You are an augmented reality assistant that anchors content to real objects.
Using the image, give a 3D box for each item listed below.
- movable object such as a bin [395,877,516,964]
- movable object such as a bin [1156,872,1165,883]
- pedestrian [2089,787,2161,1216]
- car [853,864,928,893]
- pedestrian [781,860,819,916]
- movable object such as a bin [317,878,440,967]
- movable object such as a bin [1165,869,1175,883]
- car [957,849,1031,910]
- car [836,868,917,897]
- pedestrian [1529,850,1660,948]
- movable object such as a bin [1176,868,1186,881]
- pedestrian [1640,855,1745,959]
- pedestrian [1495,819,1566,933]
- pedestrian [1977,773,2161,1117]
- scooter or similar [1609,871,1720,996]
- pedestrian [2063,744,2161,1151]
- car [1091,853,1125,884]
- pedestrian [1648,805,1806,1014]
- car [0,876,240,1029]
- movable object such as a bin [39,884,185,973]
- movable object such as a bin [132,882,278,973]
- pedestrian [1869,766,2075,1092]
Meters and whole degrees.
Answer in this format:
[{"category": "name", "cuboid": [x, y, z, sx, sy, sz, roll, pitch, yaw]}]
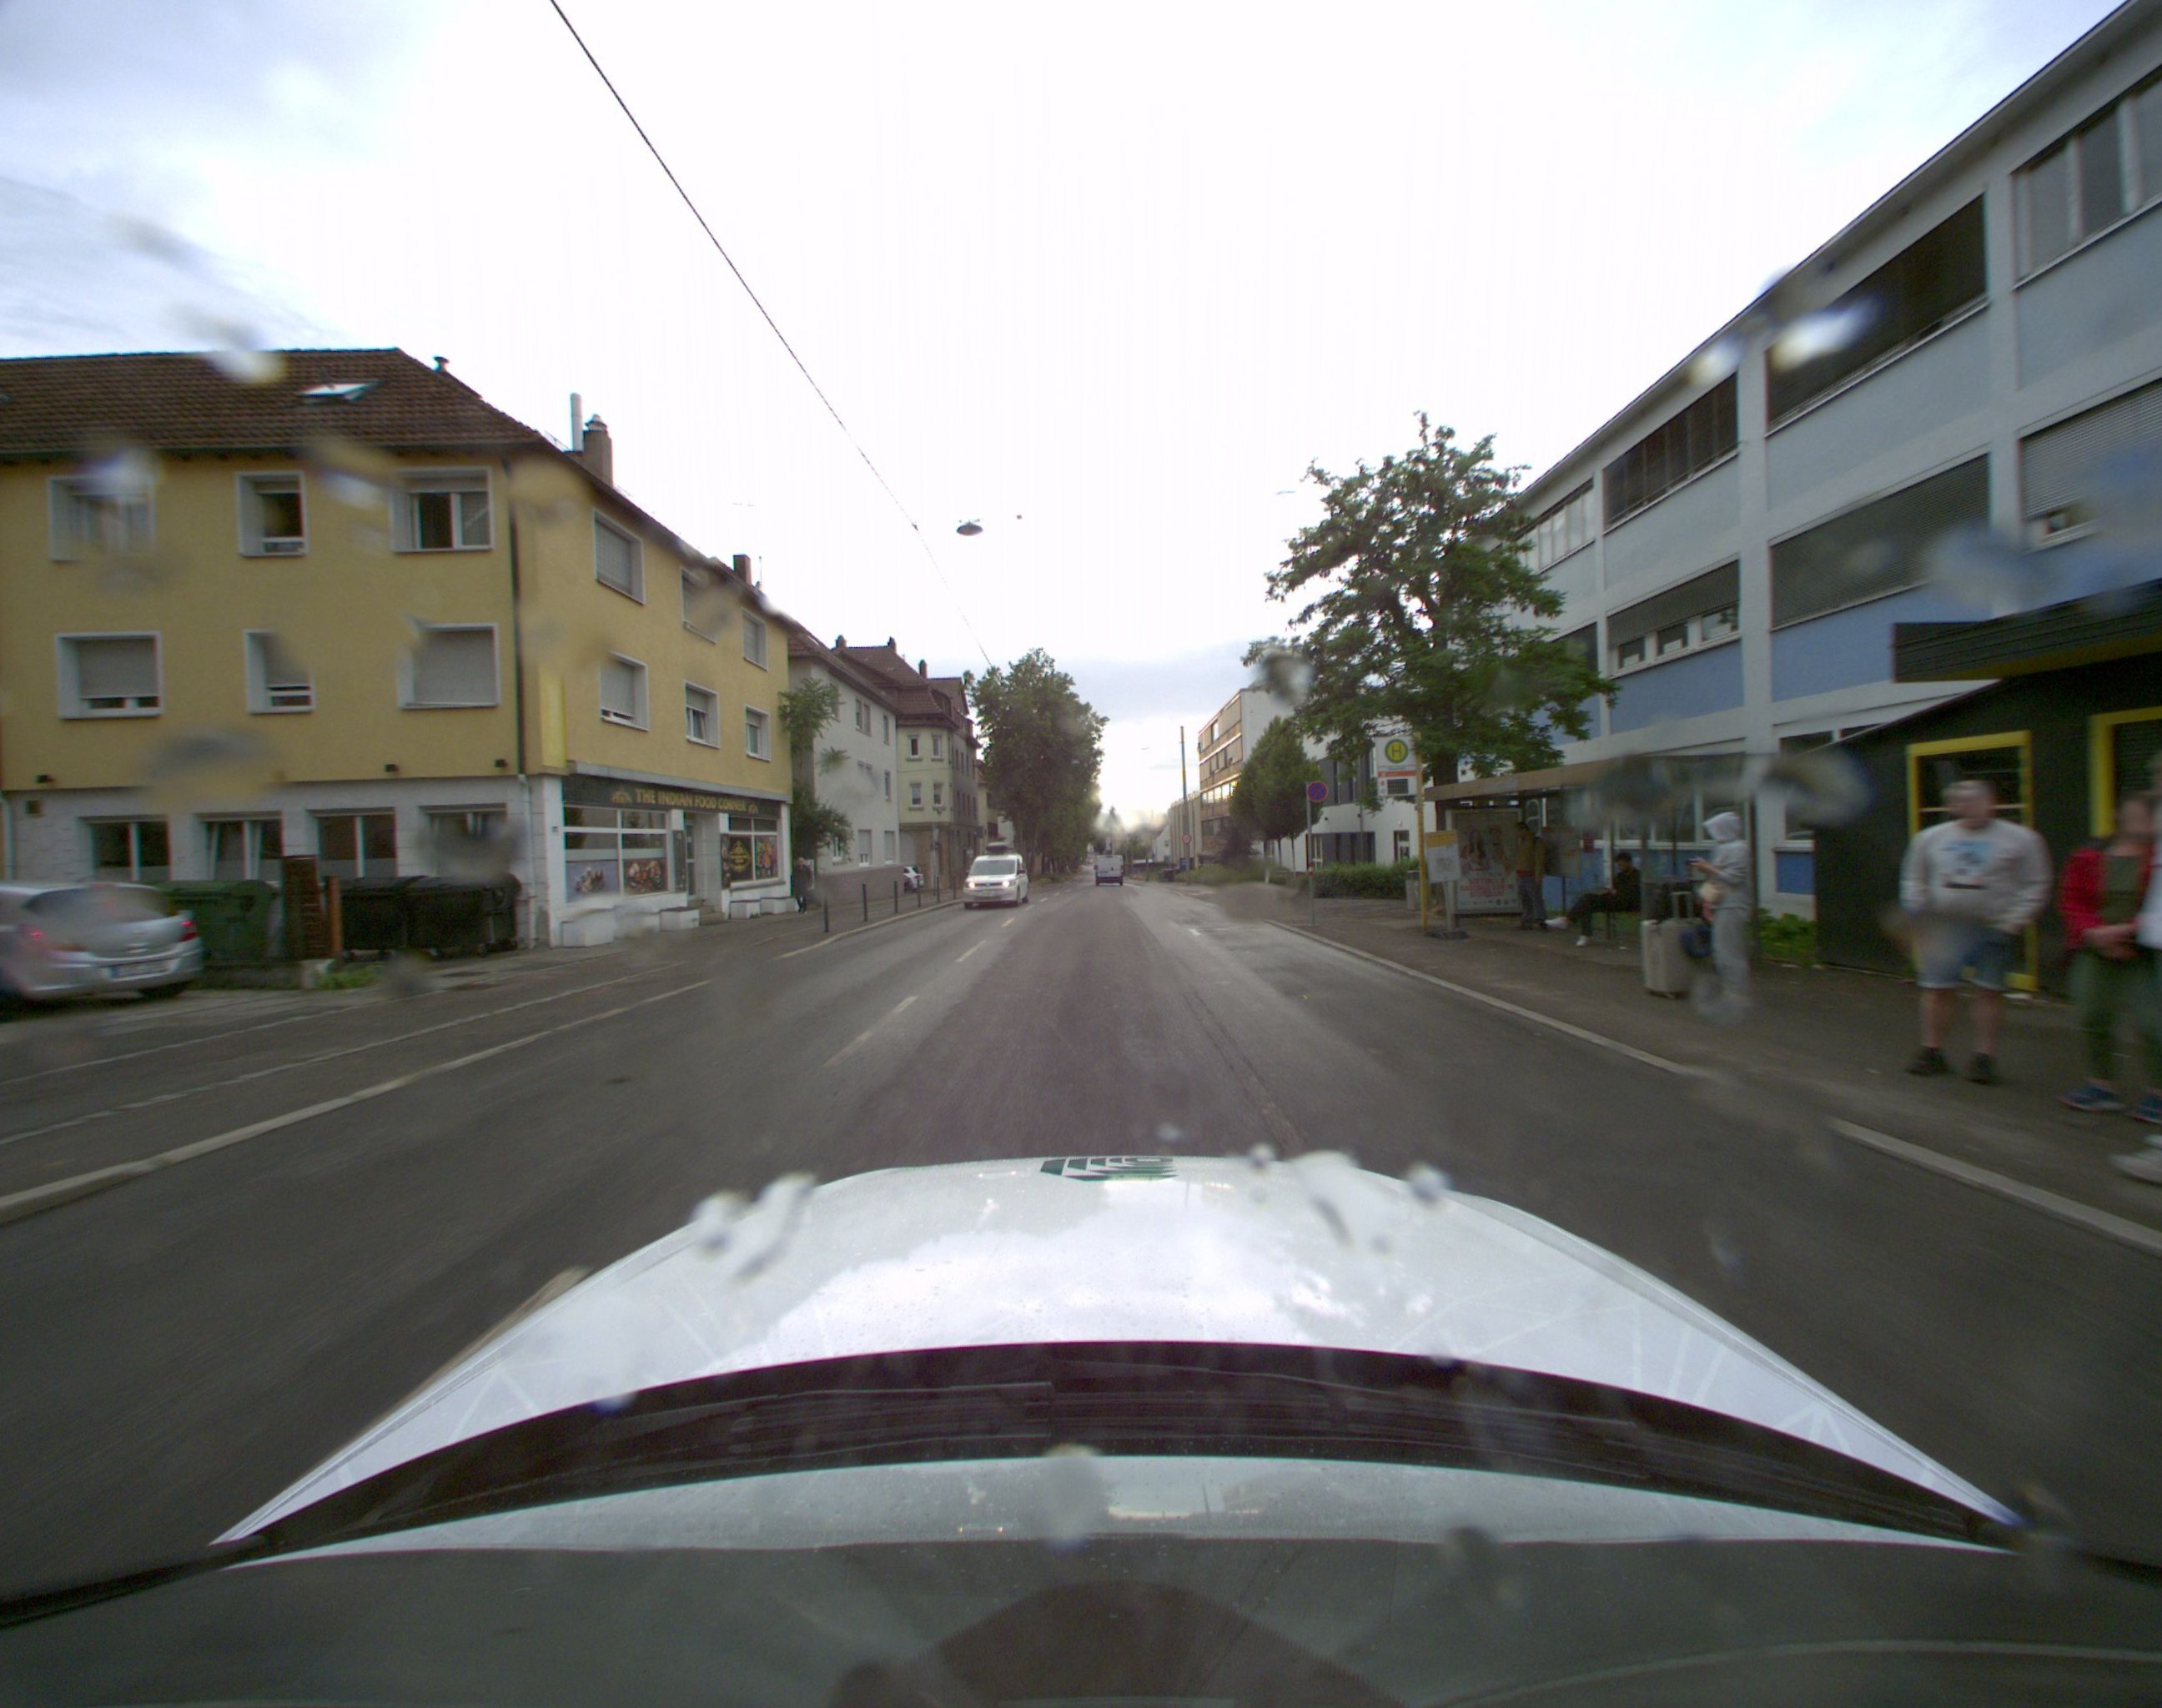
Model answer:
[{"category": "movable object such as a bin", "cuboid": [-10.800, 1.123, 14.116, 1.297, 1.402, 0.983, -1, 0, 1]}, {"category": "movable object such as a bin", "cuboid": [6.672, 1.963, 68.096, 0.617, 0.936, 0.686, -5, -1, 2]}, {"category": "pedestrian", "cuboid": [4.684, 0.568, 3.214, 0.639, 1.710, 0.741, -4, 0, -33]}, {"category": "car", "cuboid": [-11.953, 1.534, 51.201, 4.167, 1.704, 2.000, 1, -1, 1]}, {"category": "pedestrian", "cuboid": [-8.643, 1.021, 25.074, 0.813, 1.679, 0.992, -1, -1, -1]}, {"category": "movable object such as a bin", "cuboid": [-12.116, 1.161, 14.093, 1.242, 1.439, 0.983, -1, 0, 0]}, {"category": "movable object such as a bin", "cuboid": [7.455, 1.849, 68.248, 0.692, 1.082, 0.779, -5, -1, 2]}, {"category": "car", "cuboid": [-2.884, 0.841, 28.052, 1.875, 1.870, 4.454, -2, -1, 1]}, {"category": "car", "cuboid": [-11.417, 1.587, 45.626, 3.974, 1.453, 2.000, 1, -1, 0]}, {"category": "pedestrian", "cuboid": [7.282, 0.614, 11.581, 1.353, 1.273, 0.740, -3, 0, -5]}, {"category": "movable object such as a bin", "cuboid": [8.371, 1.731, 68.355, 0.692, 1.082, 0.779, -5, -1, 2]}, {"category": "pedestrian", "cuboid": [7.521, 0.625, 10.047, 0.659, 1.199, 0.740, -3, 0, -4]}, {"category": "pedestrian", "cuboid": [7.485, 0.356, 13.586, 0.645, 1.831, 0.740, -3, 0, -4]}, {"category": "pedestrian", "cuboid": [5.378, 0.454, 4.357, 0.443, 1.708, 0.559, -4, 0, 9]}, {"category": "scooter or similar", "cuboid": [5.731, 0.763, 8.027, 0.616, 1.140, 0.567, -3, -1, -4]}, {"category": "pedestrian", "cuboid": [5.176, 0.420, 3.741, 0.483, 1.875, 0.635, -4, 0, 16]}, {"category": "car", "cuboid": [2.003, 1.065, 61.631, 2.340, 2.160, 4.775, -2, 0, -1]}, {"category": "pedestrian", "cuboid": [5.783, 0.469, 7.335, 0.659, 1.741, 0.828, -3, 0, -4]}, {"category": "car", "cuboid": [-12.310, 1.019, 9.192, 3.554, 1.486, 1.946, 0, 0, -1]}, {"category": "movable object such as a bin", "cuboid": [-16.602, 1.253, 13.997, 1.205, 1.402, 1.061, -1, 0, 1]}, {"category": "movable object such as a bin", "cuboid": [-15.053, 1.234, 14.036, 1.361, 1.440, 1.048, -1, 0, 1]}, {"category": "pedestrian", "cuboid": [5.415, 0.429, 4.982, 0.458, 1.840, 0.604, -4, 0, -4]}]
